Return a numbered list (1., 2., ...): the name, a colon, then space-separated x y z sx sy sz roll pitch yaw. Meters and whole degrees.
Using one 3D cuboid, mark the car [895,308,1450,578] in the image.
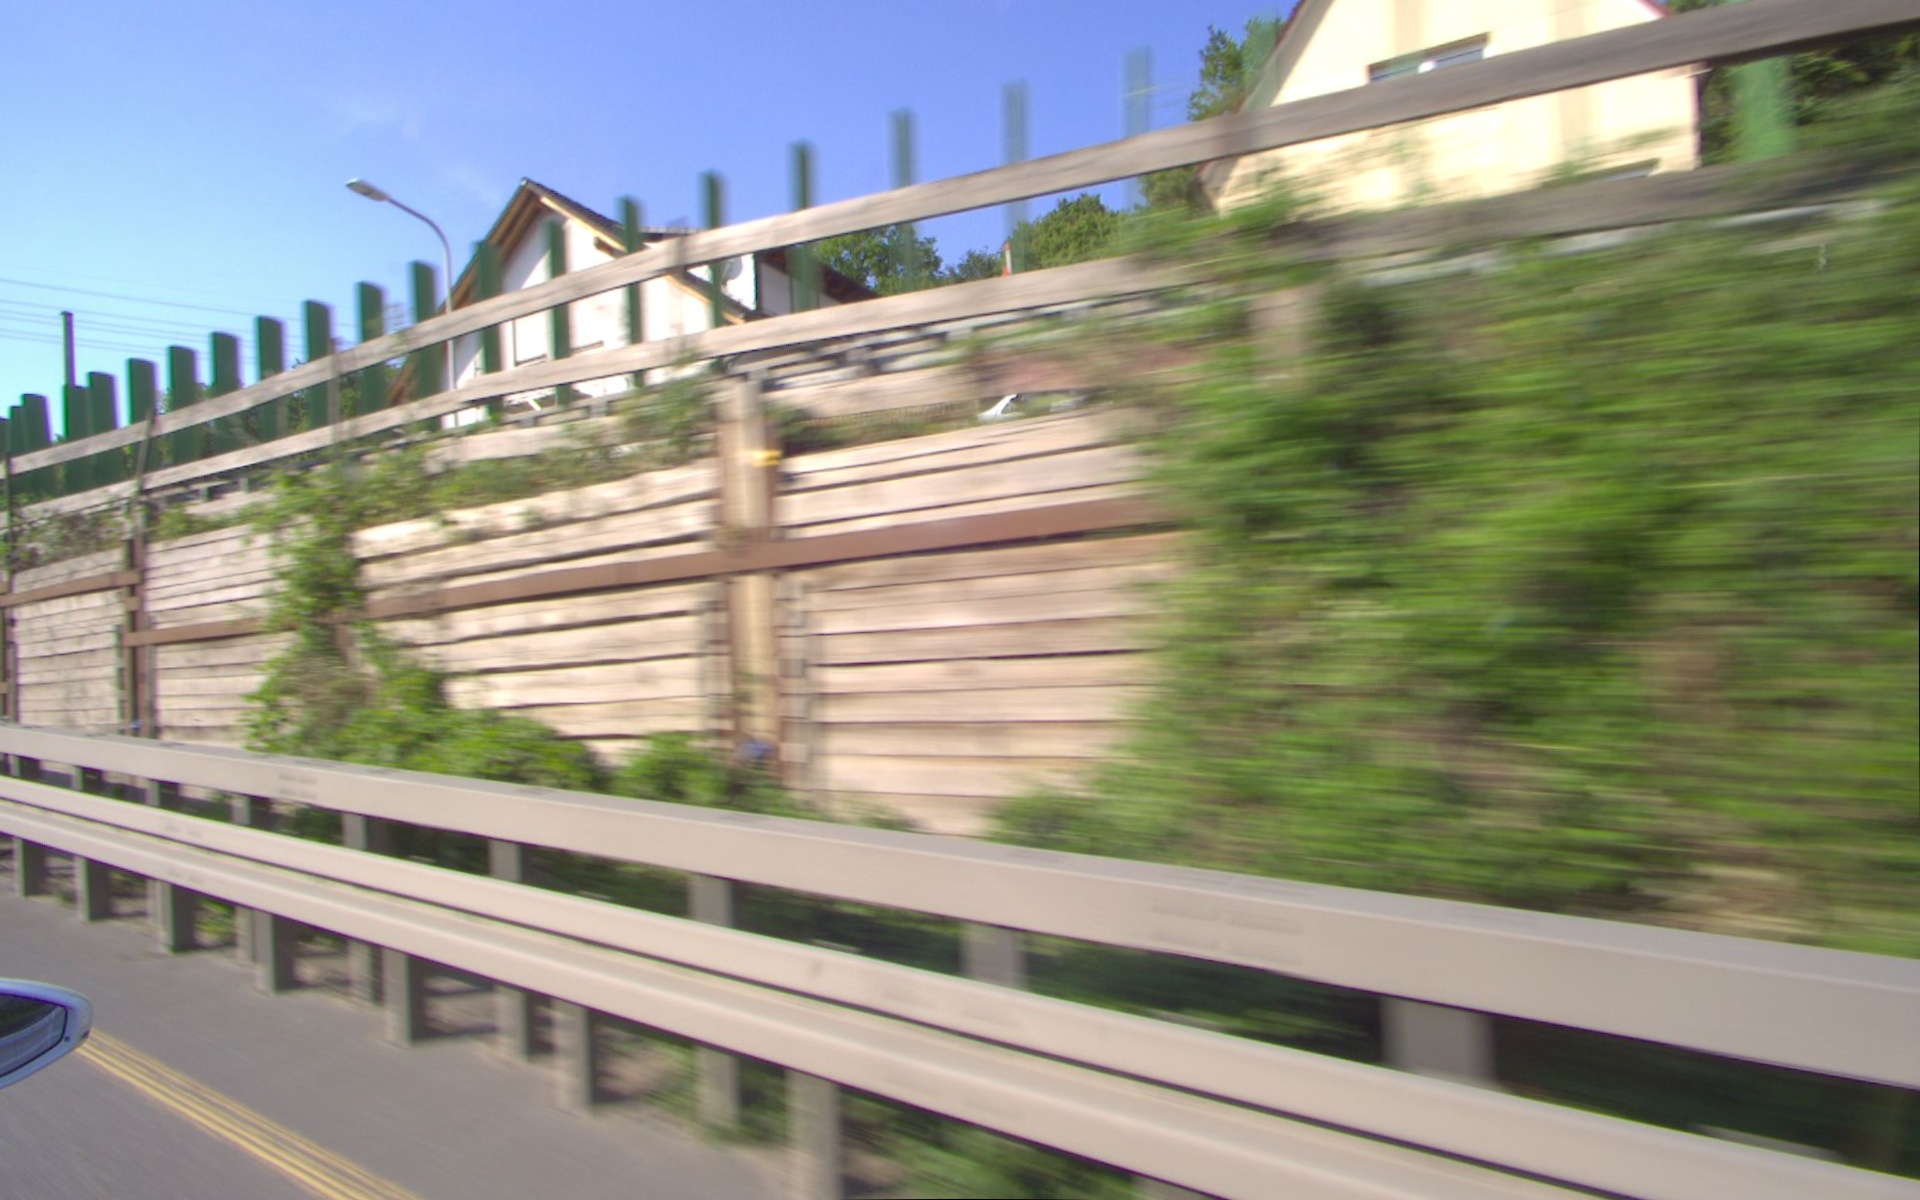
1. car: 1.843 -1.205 9.132 4.573 1.679 1.698 -3 -2 24
